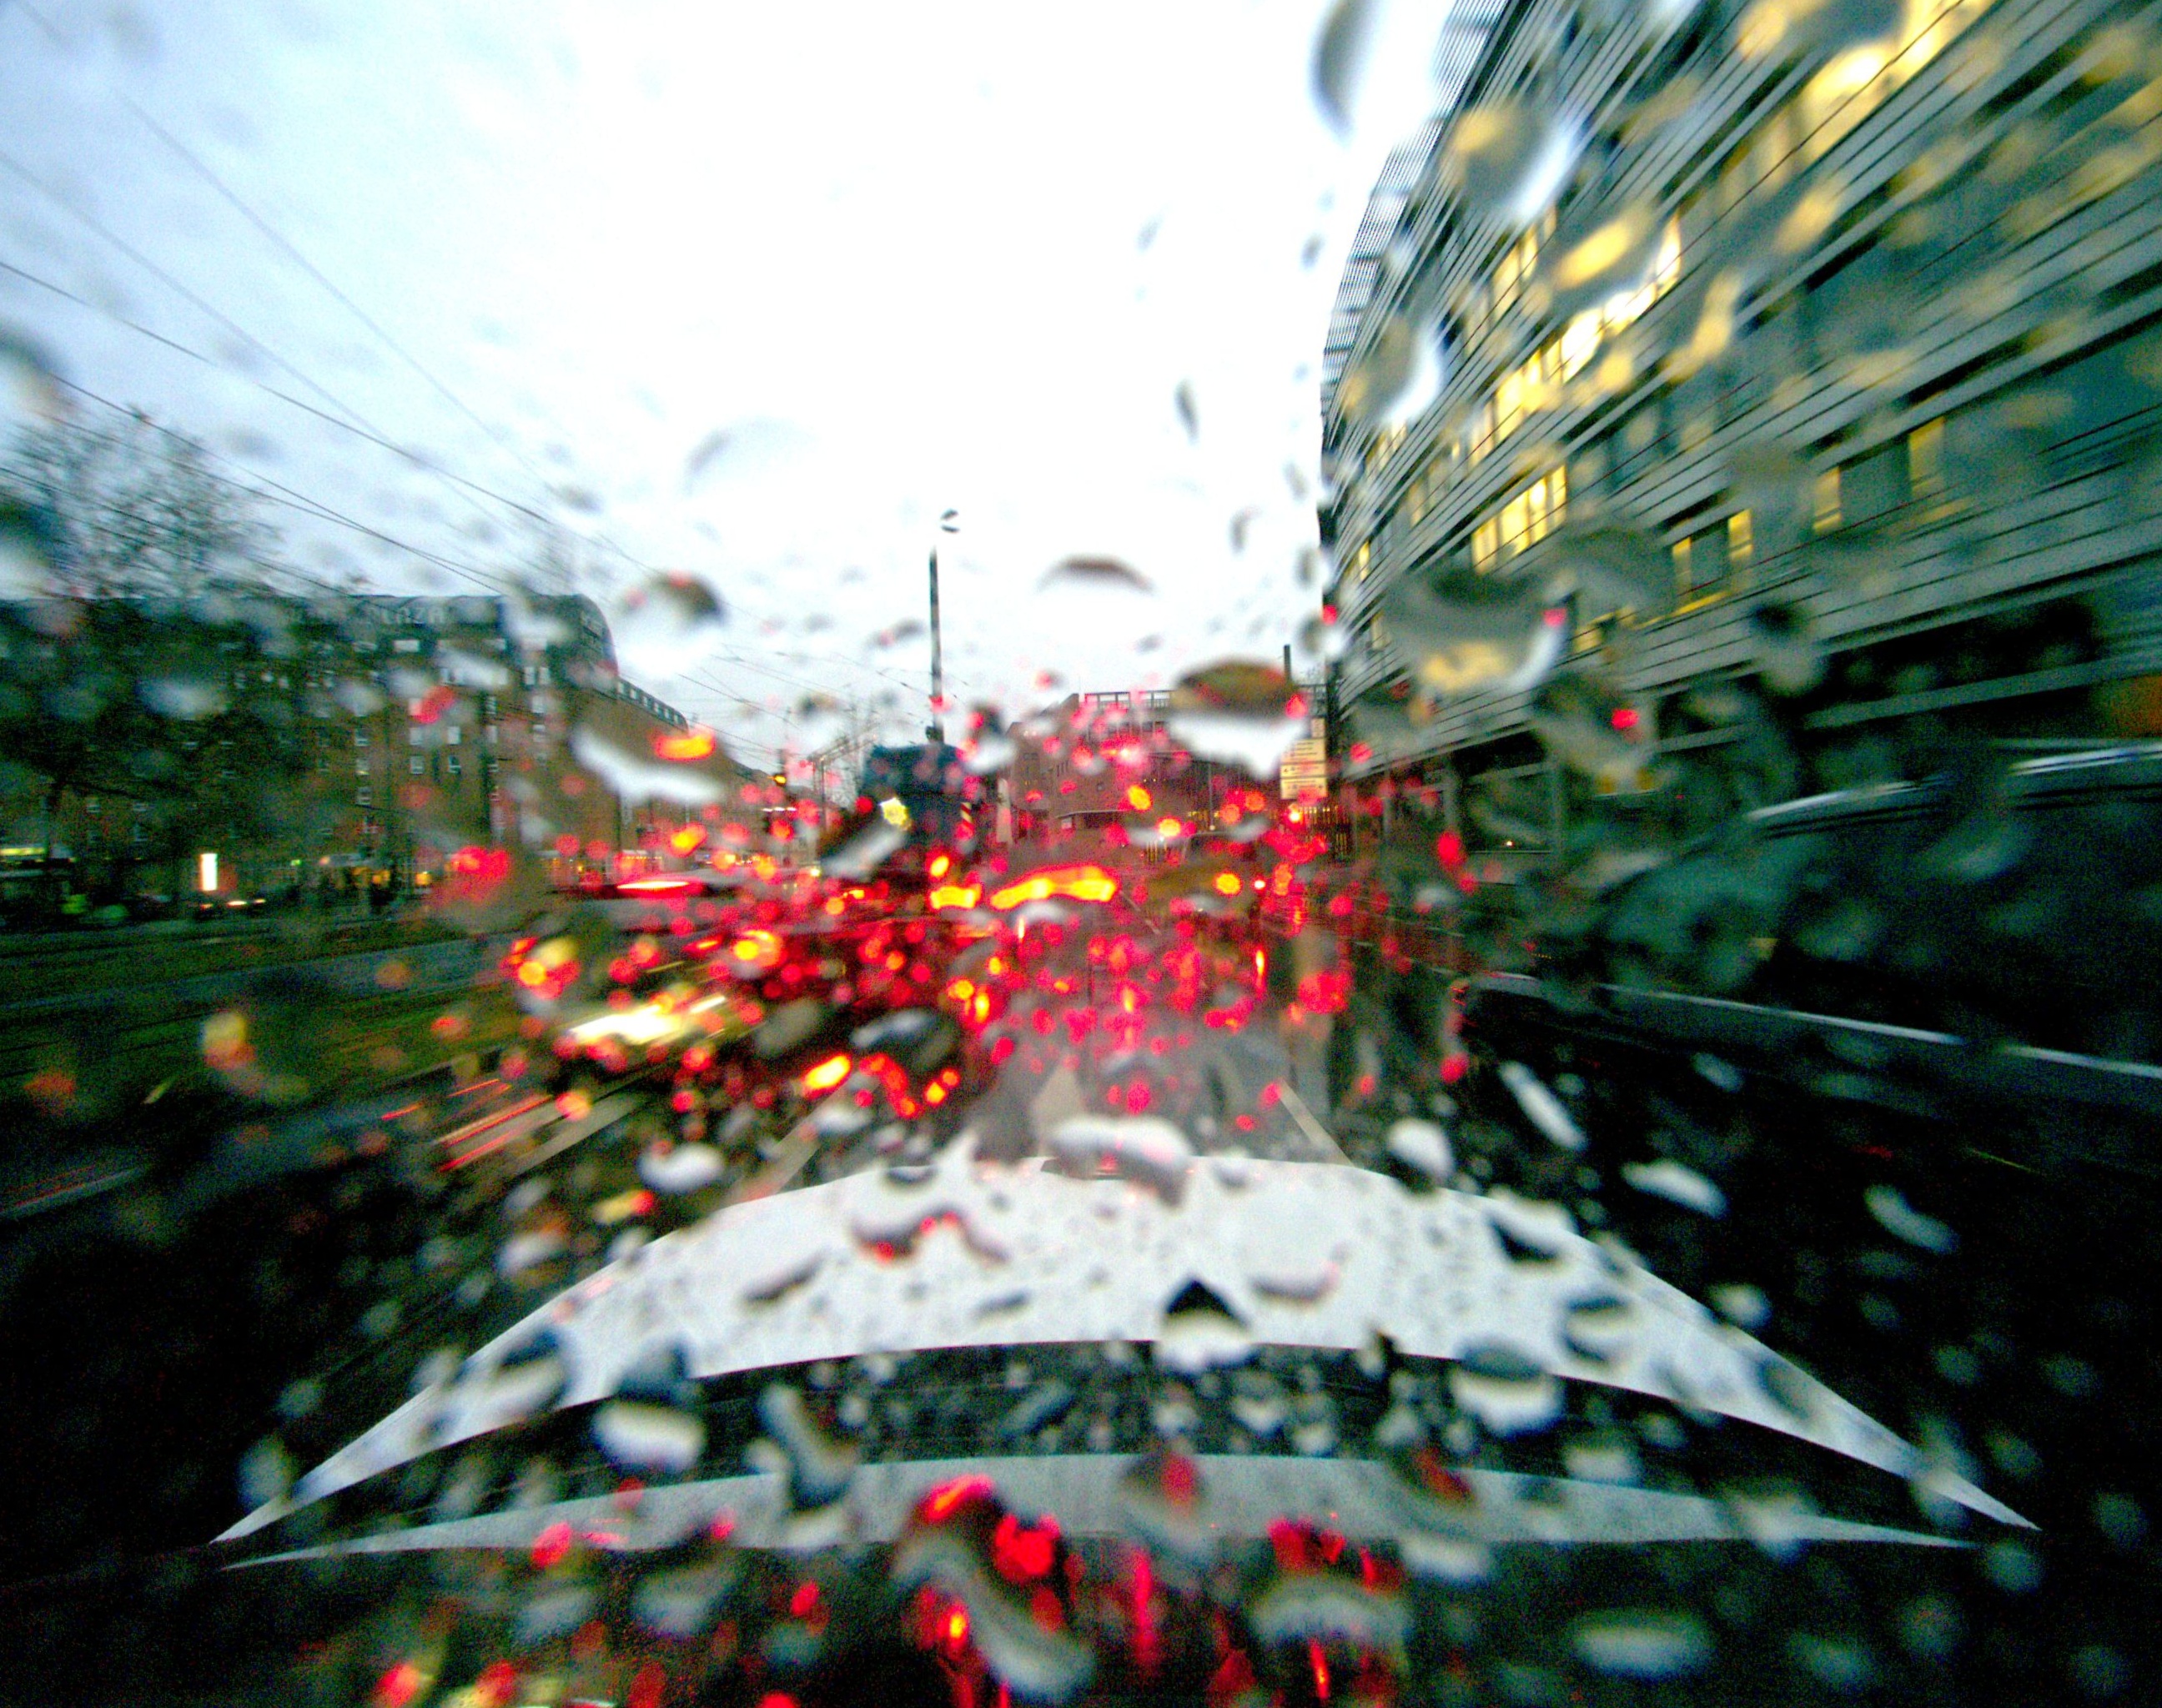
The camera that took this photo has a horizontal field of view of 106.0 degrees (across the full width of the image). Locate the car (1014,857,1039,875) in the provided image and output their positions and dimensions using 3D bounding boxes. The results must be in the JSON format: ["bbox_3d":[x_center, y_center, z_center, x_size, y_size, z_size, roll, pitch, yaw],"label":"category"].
[{"bbox_3d":[-4.101,0.902,61.766,1.505,1.305,3.043,-2,0,3],"label":"car"}]

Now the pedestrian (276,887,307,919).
[{"bbox_3d":[-42.141,2.598,43.459,0.723,1.625,0.903,-2,0,2],"label":"pedestrian"}]

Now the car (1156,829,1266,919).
[{"bbox_3d":[2.922,0.416,19.244,1.838,1.806,4.486,-2,0,0],"label":"car"}]

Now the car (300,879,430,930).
[{"bbox_3d":[-27.149,1.859,31.038,1.626,1.692,3.623,-2,0,2],"label":"car"}]

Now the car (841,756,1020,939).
[{"bbox_3d":[-2.634,-0.096,16.135,2.348,2.827,6.356,-2,0,-1],"label":"car"}]

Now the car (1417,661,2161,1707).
[{"bbox_3d":[2.531,0.562,2.094,1.668,1.779,4.000,-2,0,1],"label":"car"}]

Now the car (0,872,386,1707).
[{"bbox_3d":[-2.534,0.807,0.352,1.514,1.520,3.468,-2,-1,-2],"label":"car"}]

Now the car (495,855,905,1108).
[{"bbox_3d":[-2.782,0.789,7.034,1.700,1.508,3.997,-1,0,-2],"label":"car"}]
